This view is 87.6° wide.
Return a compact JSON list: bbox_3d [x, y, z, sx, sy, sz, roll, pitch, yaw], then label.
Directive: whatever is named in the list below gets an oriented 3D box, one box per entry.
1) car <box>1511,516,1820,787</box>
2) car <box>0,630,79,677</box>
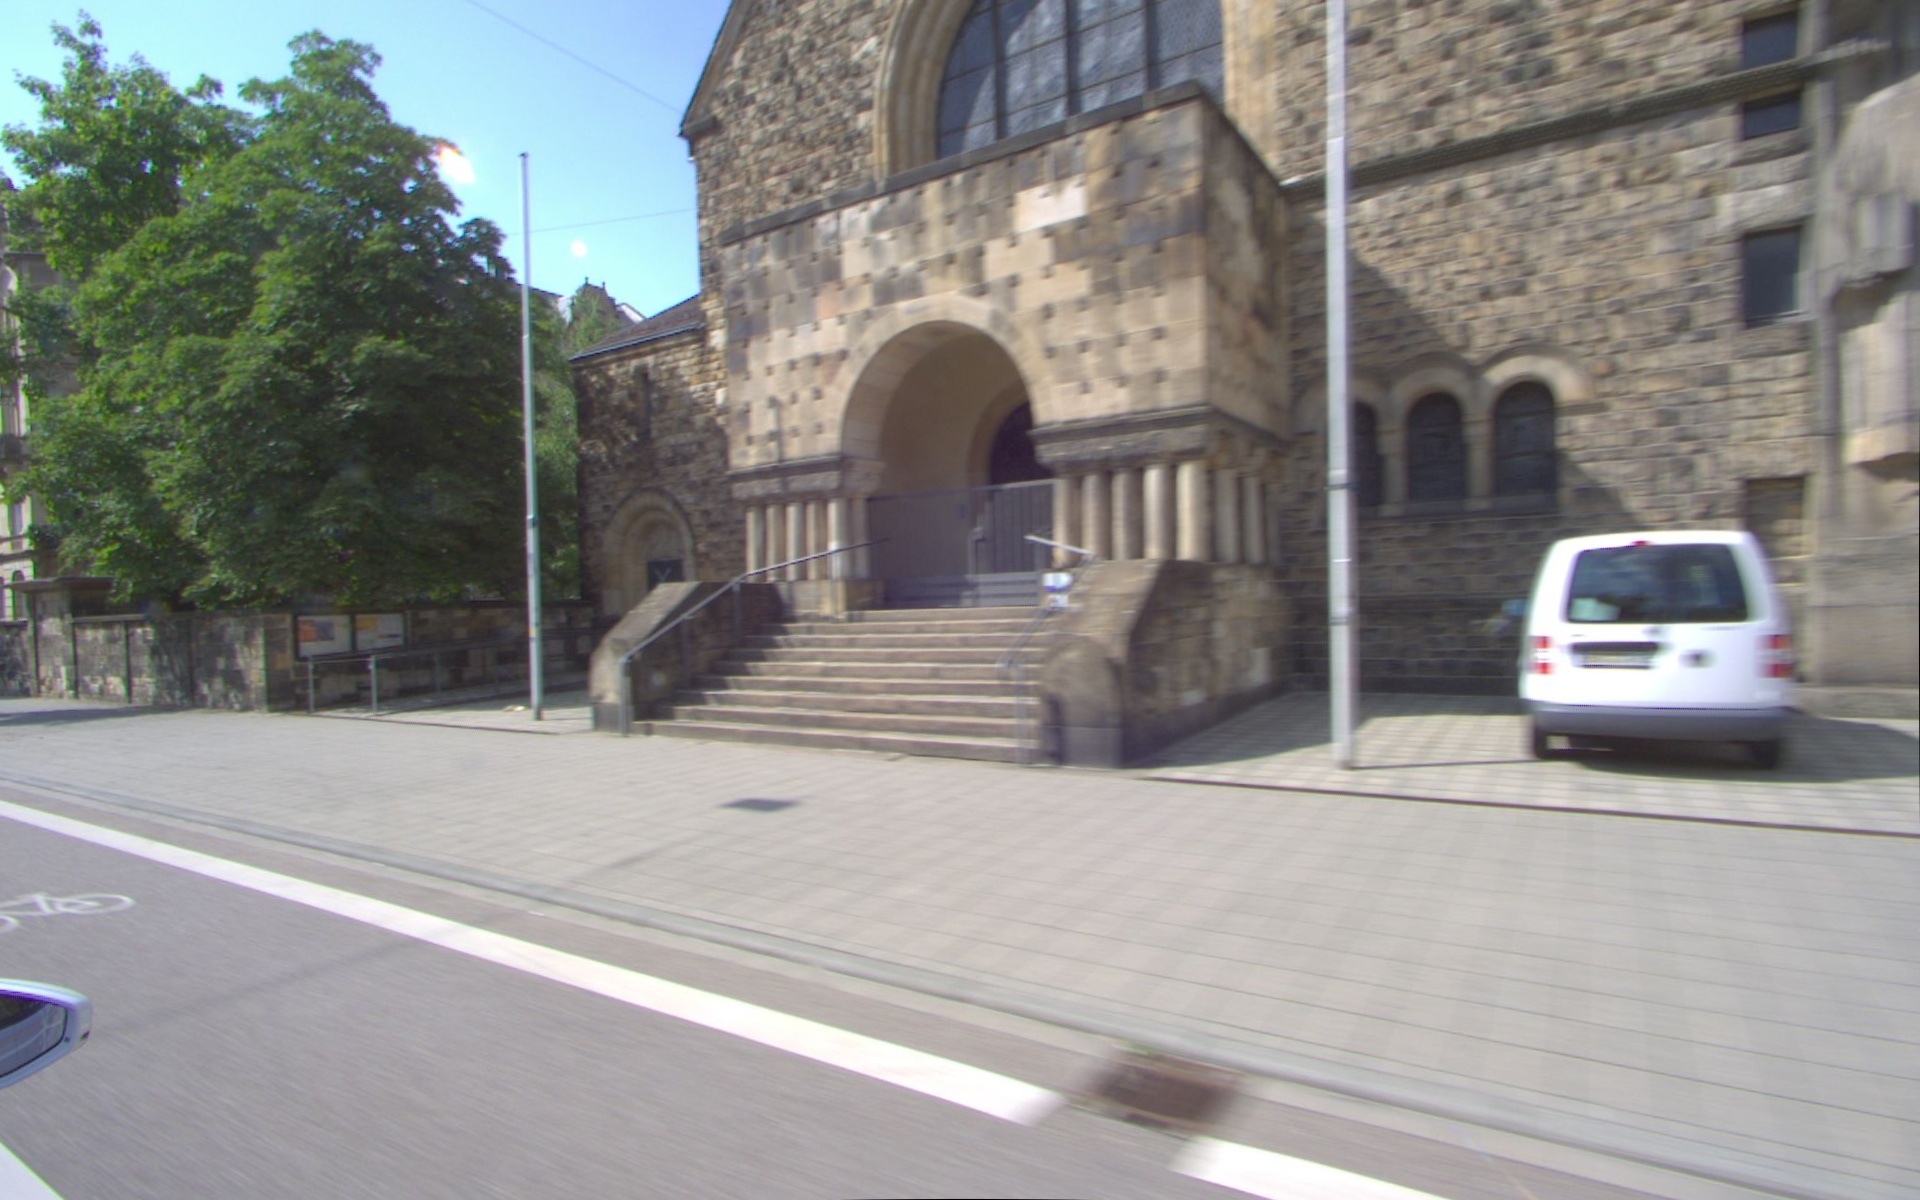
[{"bbox_3d":[6.073,0.351,9.022,1.836,1.848,3.995,-1,0,30],"label":"car"},{"bbox_3d":[-34.641,1.958,36.316,1.734,1.576,3.729,-1,0,36],"label":"car"}]
